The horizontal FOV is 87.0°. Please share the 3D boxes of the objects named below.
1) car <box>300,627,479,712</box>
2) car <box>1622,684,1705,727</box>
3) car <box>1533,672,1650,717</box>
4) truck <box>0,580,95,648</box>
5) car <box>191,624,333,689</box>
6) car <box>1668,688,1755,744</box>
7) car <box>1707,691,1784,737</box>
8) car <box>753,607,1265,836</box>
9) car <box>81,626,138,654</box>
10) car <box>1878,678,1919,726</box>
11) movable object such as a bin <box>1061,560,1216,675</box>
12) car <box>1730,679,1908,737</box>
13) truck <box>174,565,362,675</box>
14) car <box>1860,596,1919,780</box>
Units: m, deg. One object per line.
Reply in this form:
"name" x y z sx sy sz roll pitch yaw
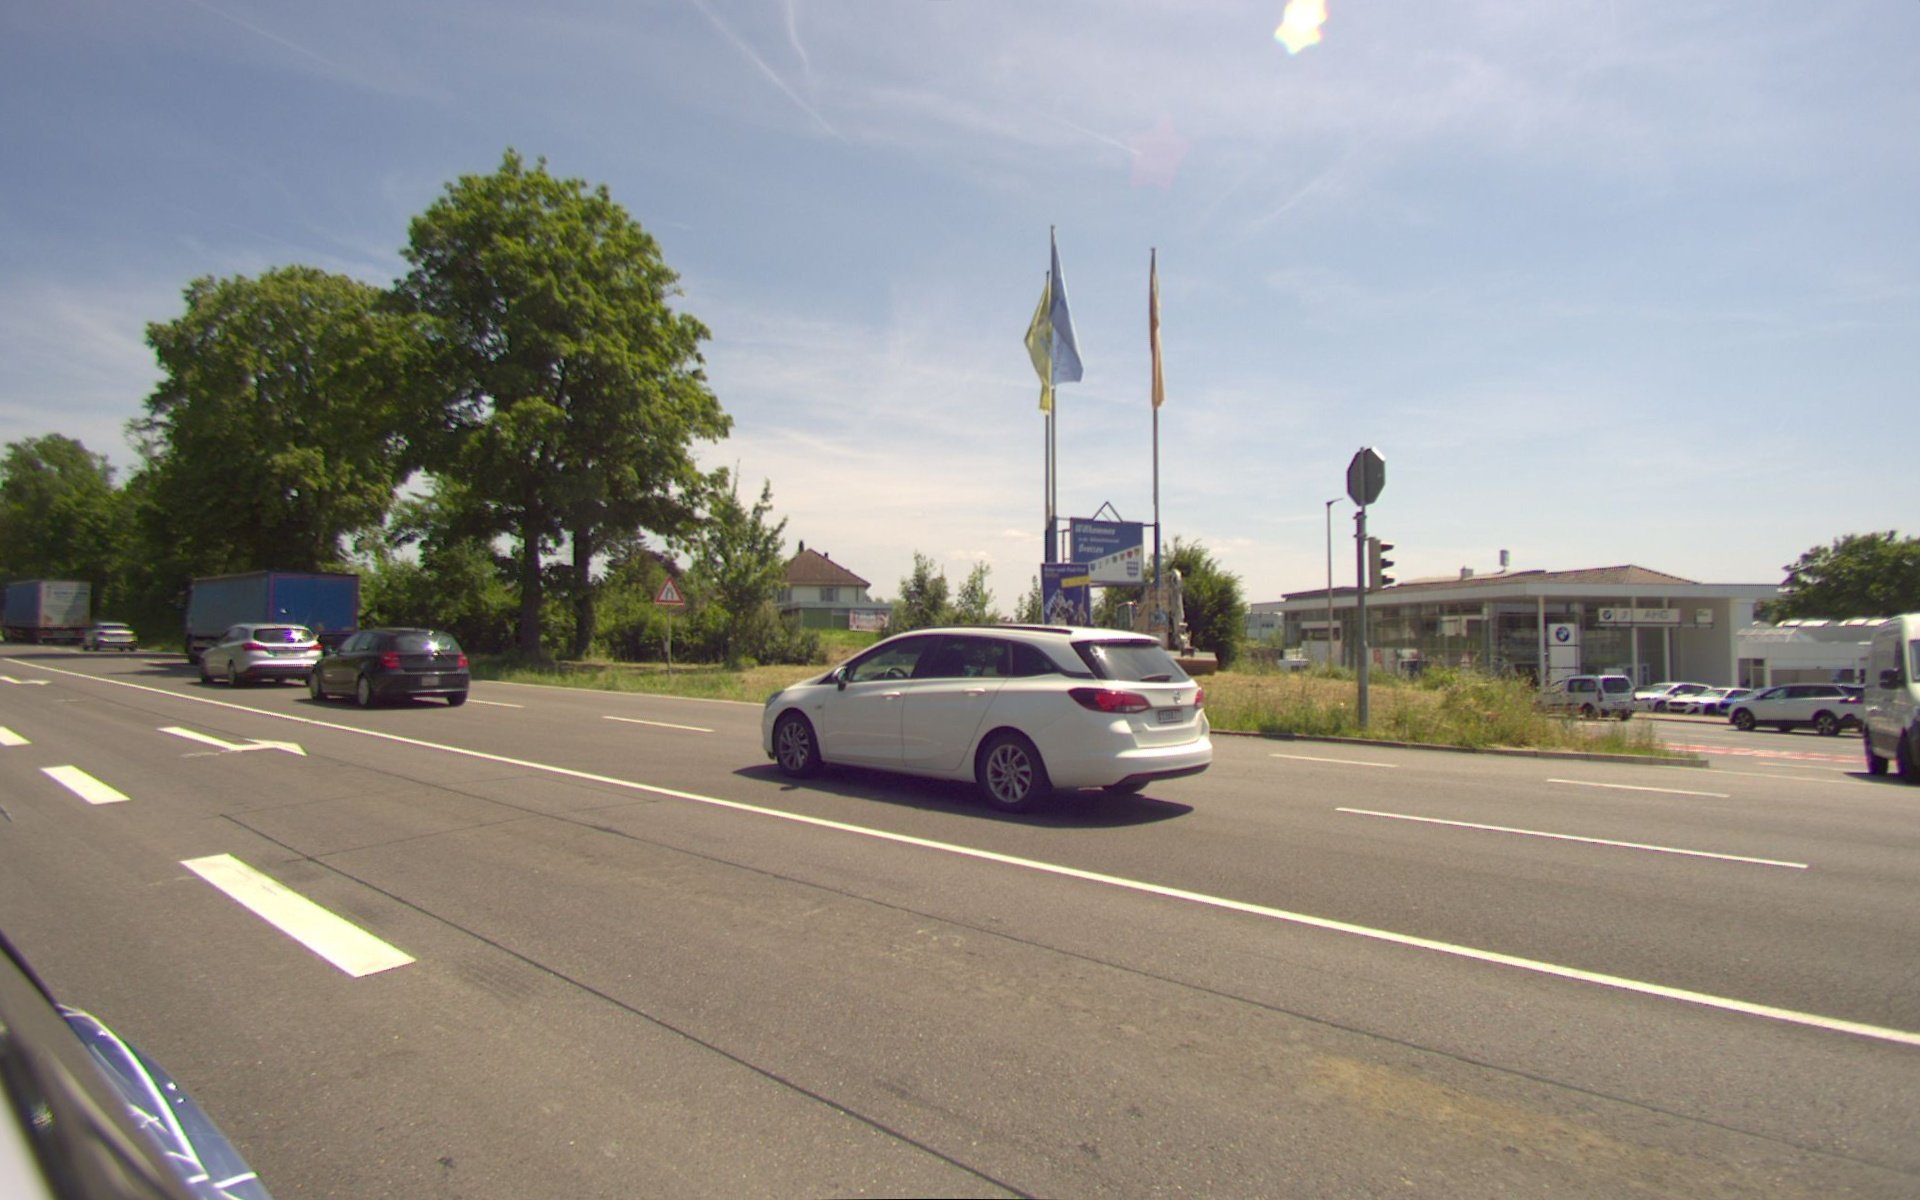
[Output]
"car" -10.647 1.235 18.766 4.015 1.414 1.645 -2 -4 42
"car" 32.681 4.840 46.982 3.836 1.626 1.865 0 0 -34
"car" 25.919 3.858 41.724 1.722 1.613 4.206 1 -3 -9
"truck" -62.459 1.004 68.948 16.567 4.208 2.937 -1 -2 41
"car" -16.828 1.307 24.334 4.260 1.437 1.771 -1 -2 41
"car" 32.854 5.034 44.228 3.836 2.029 1.865 0 0 -34
"car" 32.813 4.706 42.257 3.397 1.575 1.537 0 0 -34
"car" 0.225 0.865 8.929 4.405 1.515 1.722 0 -3 42
"car" -45.512 2.118 54.125 4.179 1.439 1.742 -2 -4 42
"car" 33.781 3.451 34.369 3.936 1.476 1.755 0 0 -8
"movable object such as a bin" 5.514 0.613 32.730 3.004 3.324 6.803 0 -2 -7
"car" 27.473 3.416 32.563 1.722 1.613 4.206 1 -3 -9
"truck" -24.718 0.705 35.778 11.479 3.377 2.816 -1 -2 42
"car" 15.279 1.339 14.995 2.190 2.507 5.937 -1 -4 35
